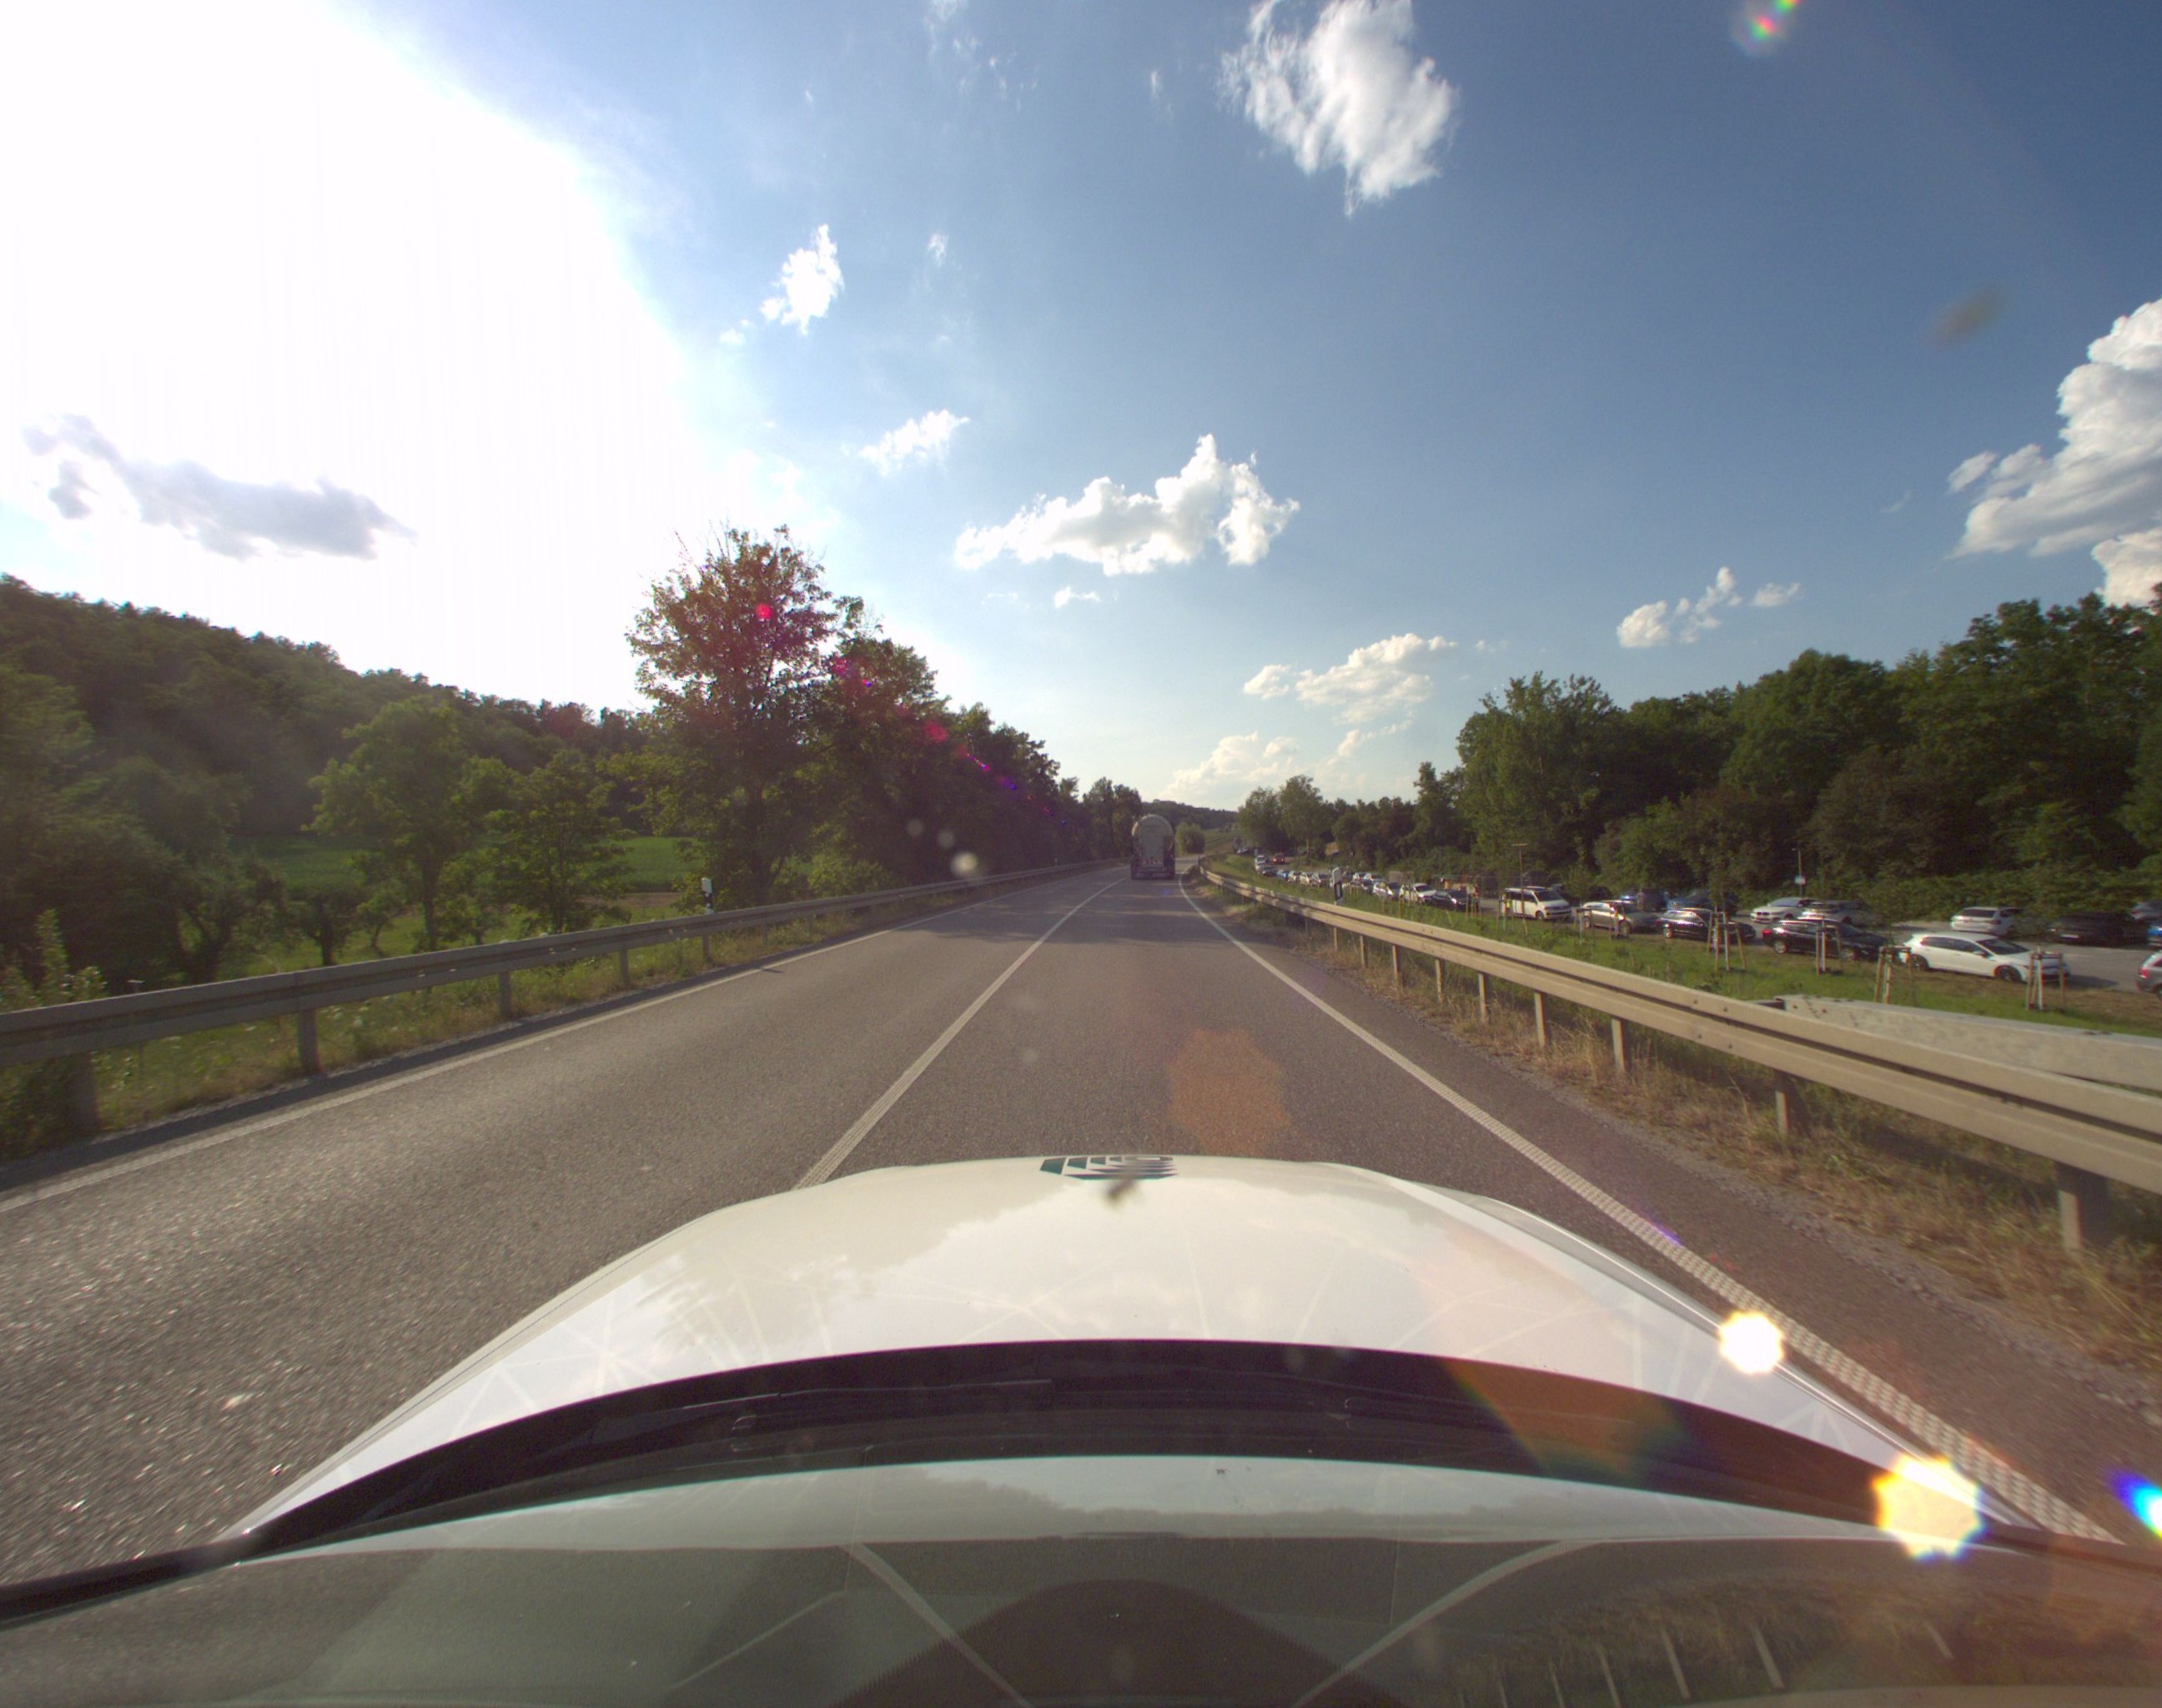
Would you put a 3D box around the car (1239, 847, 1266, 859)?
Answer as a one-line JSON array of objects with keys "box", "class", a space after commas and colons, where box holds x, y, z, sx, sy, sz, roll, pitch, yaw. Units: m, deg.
[{"box": [33.494, -0.236, 159.129, 5.104, 1.943, 1.983, 4, 2, 13], "class": "car"}]

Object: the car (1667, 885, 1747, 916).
[{"box": [39.922, 2.933, 51.961, 4.239, 1.742, 1.825, -1, 0, -14], "class": "car"}]

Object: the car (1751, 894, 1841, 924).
[{"box": [40.377, 3.079, 46.012, 4.239, 1.498, 1.763, -1, 0, -14], "class": "car"}]

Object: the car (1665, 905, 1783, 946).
[{"box": [31.433, 3.460, 39.990, 1.820, 1.482, 4.376, -3, 1, -12], "class": "car"}]

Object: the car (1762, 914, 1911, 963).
[{"box": [32.084, 3.529, 34.760, 1.820, 1.482, 4.376, -3, 1, -12], "class": "car"}]

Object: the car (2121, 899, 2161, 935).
[{"box": [50.102, 2.893, 36.351, 1.618, 1.456, 4.219, -3, 1, -20], "class": "car"}]

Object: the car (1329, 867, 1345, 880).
[{"box": [34.571, 2.658, 109.919, 1.687, 1.398, 4.809, -4, 0, 20], "class": "car"}]

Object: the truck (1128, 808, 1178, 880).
[{"box": [4.657, -0.608, 53.807, 2.880, 4.142, 13.187, -1, 0, 4], "class": "truck"}]

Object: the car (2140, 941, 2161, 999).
[{"box": [34.224, 3.559, 23.404, 1.820, 1.658, 4.238, -3, 1, -13], "class": "car"}]

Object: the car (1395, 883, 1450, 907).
[{"box": [28.087, 3.353, 67.080, 1.891, 1.559, 4.769, -5, 1, -8], "class": "car"}]

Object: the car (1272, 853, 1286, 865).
[{"box": [34.199, 0.856, 140.755, 1.880, 1.686, 5.101, -5, 1, 10], "class": "car"}]

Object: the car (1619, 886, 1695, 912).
[{"box": [39.283, 3.022, 55.579, 4.232, 1.604, 1.828, -1, 0, -10], "class": "car"}]

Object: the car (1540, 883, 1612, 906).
[{"box": [36.944, 3.032, 60.860, 4.211, 1.489, 1.837, -1, 2, 6], "class": "car"}]

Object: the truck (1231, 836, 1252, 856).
[{"box": [37.274, -1.921, 188.708, 3.158, 4.227, 13.234, -2, 1, 18], "class": "truck"}]

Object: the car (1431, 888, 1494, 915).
[{"box": [28.330, 3.504, 60.676, 1.891, 1.482, 4.769, -5, 1, -8], "class": "car"}]

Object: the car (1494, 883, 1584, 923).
[{"box": [29.477, 3.078, 52.677, 2.118, 2.017, 5.364, -5, 1, -8], "class": "car"}]

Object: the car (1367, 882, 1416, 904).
[{"box": [27.610, 3.446, 72.538, 1.891, 1.559, 4.769, -5, 1, -8], "class": "car"}]

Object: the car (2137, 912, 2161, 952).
[{"box": [44.909, 3.067, 32.667, 4.241, 1.456, 1.609, -2, 1, -15], "class": "car"}]

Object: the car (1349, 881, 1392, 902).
[{"box": [27.547, 3.569, 77.605, 1.889, 1.559, 4.774, -5, 1, -5], "class": "car"}]

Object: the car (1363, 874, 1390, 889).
[{"box": [32.819, 3.009, 90.547, 1.695, 1.510, 3.947, -2, 0, 2], "class": "car"}]

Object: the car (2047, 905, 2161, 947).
[{"box": [44.126, 3.069, 35.089, 4.241, 1.456, 1.609, -2, 1, -15], "class": "car"}]

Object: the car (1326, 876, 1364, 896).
[{"box": [27.359, 3.293, 84.575, 1.889, 1.559, 4.774, -5, 1, -5], "class": "car"}]

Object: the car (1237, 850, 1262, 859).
[{"box": [32.198, 0.100, 155.495, 4.315, 1.399, 1.714, 2, 2, -13], "class": "car"}]

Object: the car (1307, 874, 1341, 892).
[{"box": [27.008, 3.237, 90.711, 1.889, 1.559, 4.774, -5, 1, -5], "class": "car"}]

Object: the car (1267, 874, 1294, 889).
[{"box": [26.293, 3.555, 107.519, 1.889, 1.559, 4.774, -5, 1, -5], "class": "car"}]

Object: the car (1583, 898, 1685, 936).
[{"box": [30.581, 3.448, 45.220, 1.891, 1.482, 4.769, -5, 1, -8], "class": "car"}]

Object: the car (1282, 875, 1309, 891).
[{"box": [26.679, 3.611, 101.411, 1.886, 1.559, 4.781, -5, 1, -1], "class": "car"}]

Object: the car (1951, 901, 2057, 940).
[{"box": [43.033, 3.080, 37.973, 4.414, 1.456, 1.724, -2, 1, -19], "class": "car"}]

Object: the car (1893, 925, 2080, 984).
[{"box": [32.982, 3.597, 29.847, 1.820, 1.482, 4.238, -3, 1, -13], "class": "car"}]

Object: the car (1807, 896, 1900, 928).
[{"box": [41.015, 3.071, 43.261, 4.240, 1.456, 1.609, -1, 0, -15], "class": "car"}]

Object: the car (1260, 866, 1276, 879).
[{"box": [27.395, 2.677, 119.283, 1.880, 1.559, 4.796, -5, 1, 10], "class": "car"}]

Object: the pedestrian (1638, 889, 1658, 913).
[{"box": [37.630, 3.142, 54.064, 0.910, 1.471, 0.894, -3, 1, 25], "class": "pedestrian"}]
